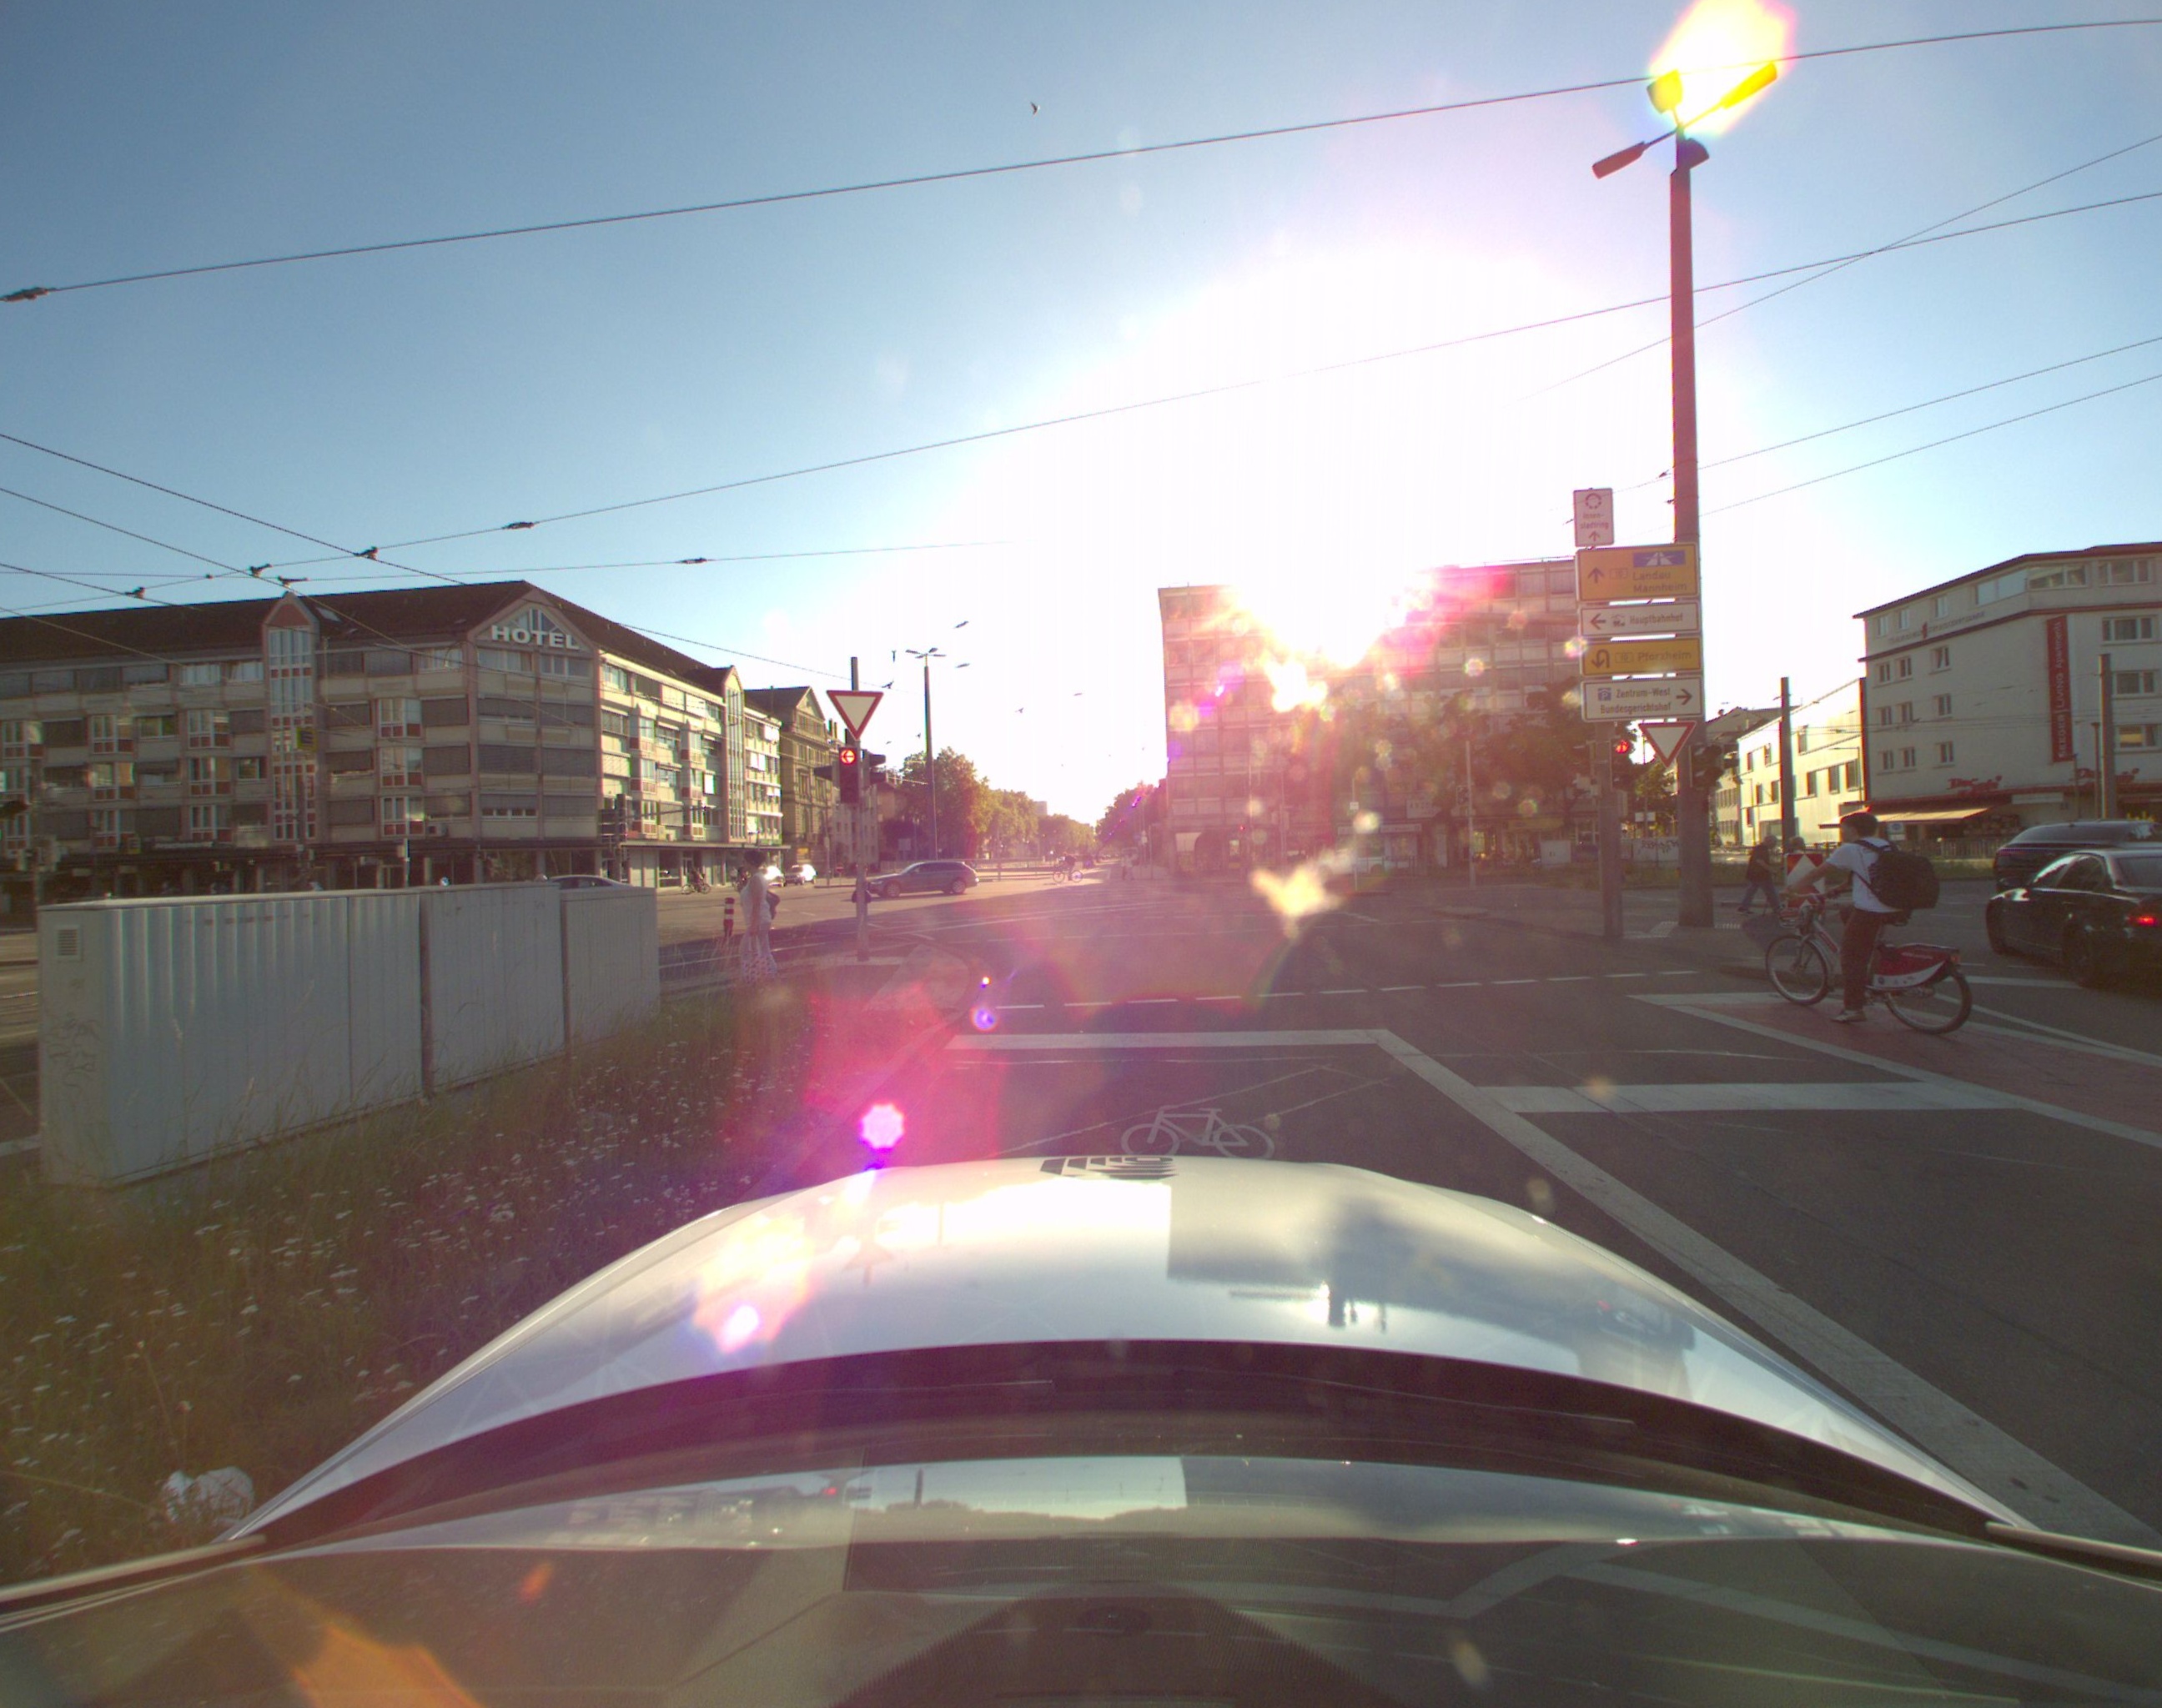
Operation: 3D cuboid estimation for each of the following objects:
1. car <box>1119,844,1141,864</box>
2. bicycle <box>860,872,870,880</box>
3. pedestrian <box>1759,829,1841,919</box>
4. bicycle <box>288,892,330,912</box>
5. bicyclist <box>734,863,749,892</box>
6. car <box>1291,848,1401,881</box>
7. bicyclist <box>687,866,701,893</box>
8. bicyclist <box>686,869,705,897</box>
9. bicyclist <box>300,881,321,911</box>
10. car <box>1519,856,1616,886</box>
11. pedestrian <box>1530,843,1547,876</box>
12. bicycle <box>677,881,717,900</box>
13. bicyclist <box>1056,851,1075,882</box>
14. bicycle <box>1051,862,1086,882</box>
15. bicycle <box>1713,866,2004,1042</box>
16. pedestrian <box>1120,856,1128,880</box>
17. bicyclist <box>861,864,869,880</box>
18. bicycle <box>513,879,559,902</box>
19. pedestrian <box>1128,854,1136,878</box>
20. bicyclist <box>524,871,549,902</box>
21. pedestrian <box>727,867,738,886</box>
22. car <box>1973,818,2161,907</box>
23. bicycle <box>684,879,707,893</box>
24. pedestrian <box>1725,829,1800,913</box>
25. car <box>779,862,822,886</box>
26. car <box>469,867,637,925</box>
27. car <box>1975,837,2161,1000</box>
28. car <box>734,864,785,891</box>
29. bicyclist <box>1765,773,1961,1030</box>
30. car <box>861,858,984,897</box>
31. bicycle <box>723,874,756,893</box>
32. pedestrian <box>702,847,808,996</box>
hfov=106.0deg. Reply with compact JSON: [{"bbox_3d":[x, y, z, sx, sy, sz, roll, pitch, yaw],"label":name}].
[{"bbox_3d":[6.290,0.016,104.683,2.477,2.392,5.936,-4,-1,2],"label":"car"},{"bbox_3d":[-25.381,2.582,95.730,0.596,0.915,1.838,-2,0,4],"label":"bicycle"},{"bbox_3d":[13.369,0.365,15.162,0.875,1.597,0.655,-2,0,0],"label":"pedestrian"},{"bbox_3d":[-44.570,2.757,47.026,1.731,1.059,0.538,-2,0,-8],"label":"bicycle"},{"bbox_3d":[-23.404,1.617,56.070,0.782,2.013,0.598,-2,0,-36],"label":"bicyclist"},{"bbox_3d":[13.137,0.511,40.586,4.893,1.479,2.004,-2,0,7],"label":"car"},{"bbox_3d":[-27.619,1.813,58.173,0.590,1.862,0.642,-2,0,3],"label":"bicyclist"},{"bbox_3d":[-24.722,1.866,52.233,0.896,1.753,0.650,-2,0,-2],"label":"bicyclist"},{"bbox_3d":[-44.510,2.421,47.040,0.663,1.712,0.537,-2,0,-8],"label":"bicyclist"},{"bbox_3d":[25.985,0.900,43.615,3.968,1.420,2.003,-2,0,5],"label":"car"},{"bbox_3d":[28.649,0.340,51.043,0.703,2.013,0.559,-2,0,5],"label":"pedestrian"},{"bbox_3d":[-24.636,2.340,52.240,2.168,1.137,0.658,-2,0,-3],"label":"bicycle"},{"bbox_3d":[-0.897,0.729,47.215,1.037,1.739,0.677,-2,0,-2],"label":"bicyclist"},{"bbox_3d":[-0.728,1.048,47.303,1.967,1.098,0.677,-2,0,-2],"label":"bicycle"},{"bbox_3d":[6.581,0.758,7.088,0.642,1.223,2.050,0,2,3],"label":"bicycle"},{"bbox_3d":[2.708,0.892,51.628,0.365,1.508,0.542,-2,0,-5],"label":"pedestrian"},{"bbox_3d":[-25.395,2.103,95.806,0.590,1.862,0.642,-2,0,3],"label":"bicyclist"},{"bbox_3d":[-31.036,2.076,46.412,2.089,1.137,0.658,-2,0,-3],"label":"bicycle"},{"bbox_3d":[3.295,0.775,52.682,0.365,1.508,0.542,-2,0,-5],"label":"pedestrian"},{"bbox_3d":[-31.041,1.847,46.415,0.896,1.753,0.654,-2,0,-2],"label":"bicyclist"},{"bbox_3d":[-29.750,1.931,69.500,0.623,1.605,0.705,-2,0,3],"label":"pedestrian"},{"bbox_3d":[21.303,0.106,17.141,3.998,1.693,1.988,-1,1,-19],"label":"car"},{"bbox_3d":[-27.526,2.274,58.144,0.596,0.915,1.838,-2,0,4],"label":"bicycle"},{"bbox_3d":[13.405,0.332,16.038,0.875,1.597,0.655,-2,0,0],"label":"pedestrian"},{"bbox_3d":[-24.314,1.692,70.703,1.984,1.860,4.005,-2,0,4],"label":"car"},{"bbox_3d":[-17.528,1.337,27.173,4.371,1.596,1.975,-2,0,-44],"label":"car"},{"bbox_3d":[11.299,0.555,8.593,1.726,1.426,4.026,-2,0,36],"label":"car"},{"bbox_3d":[-24.566,1.765,62.426,1.984,1.860,4.005,-2,0,4],"label":"car"},{"bbox_3d":[6.579,0.361,6.922,0.641,2.013,1.068,0,1,3],"label":"bicyclist"},{"bbox_3d":[-6.976,0.991,35.908,4.950,1.479,1.981,-2,0,-29],"label":"car"},{"bbox_3d":[-23.468,2.042,56.006,1.976,1.201,0.603,-2,0,-35],"label":"bicycle"},{"bbox_3d":[-3.686,0.739,9.258,0.875,1.597,0.655,-2,0,1],"label":"pedestrian"}]
